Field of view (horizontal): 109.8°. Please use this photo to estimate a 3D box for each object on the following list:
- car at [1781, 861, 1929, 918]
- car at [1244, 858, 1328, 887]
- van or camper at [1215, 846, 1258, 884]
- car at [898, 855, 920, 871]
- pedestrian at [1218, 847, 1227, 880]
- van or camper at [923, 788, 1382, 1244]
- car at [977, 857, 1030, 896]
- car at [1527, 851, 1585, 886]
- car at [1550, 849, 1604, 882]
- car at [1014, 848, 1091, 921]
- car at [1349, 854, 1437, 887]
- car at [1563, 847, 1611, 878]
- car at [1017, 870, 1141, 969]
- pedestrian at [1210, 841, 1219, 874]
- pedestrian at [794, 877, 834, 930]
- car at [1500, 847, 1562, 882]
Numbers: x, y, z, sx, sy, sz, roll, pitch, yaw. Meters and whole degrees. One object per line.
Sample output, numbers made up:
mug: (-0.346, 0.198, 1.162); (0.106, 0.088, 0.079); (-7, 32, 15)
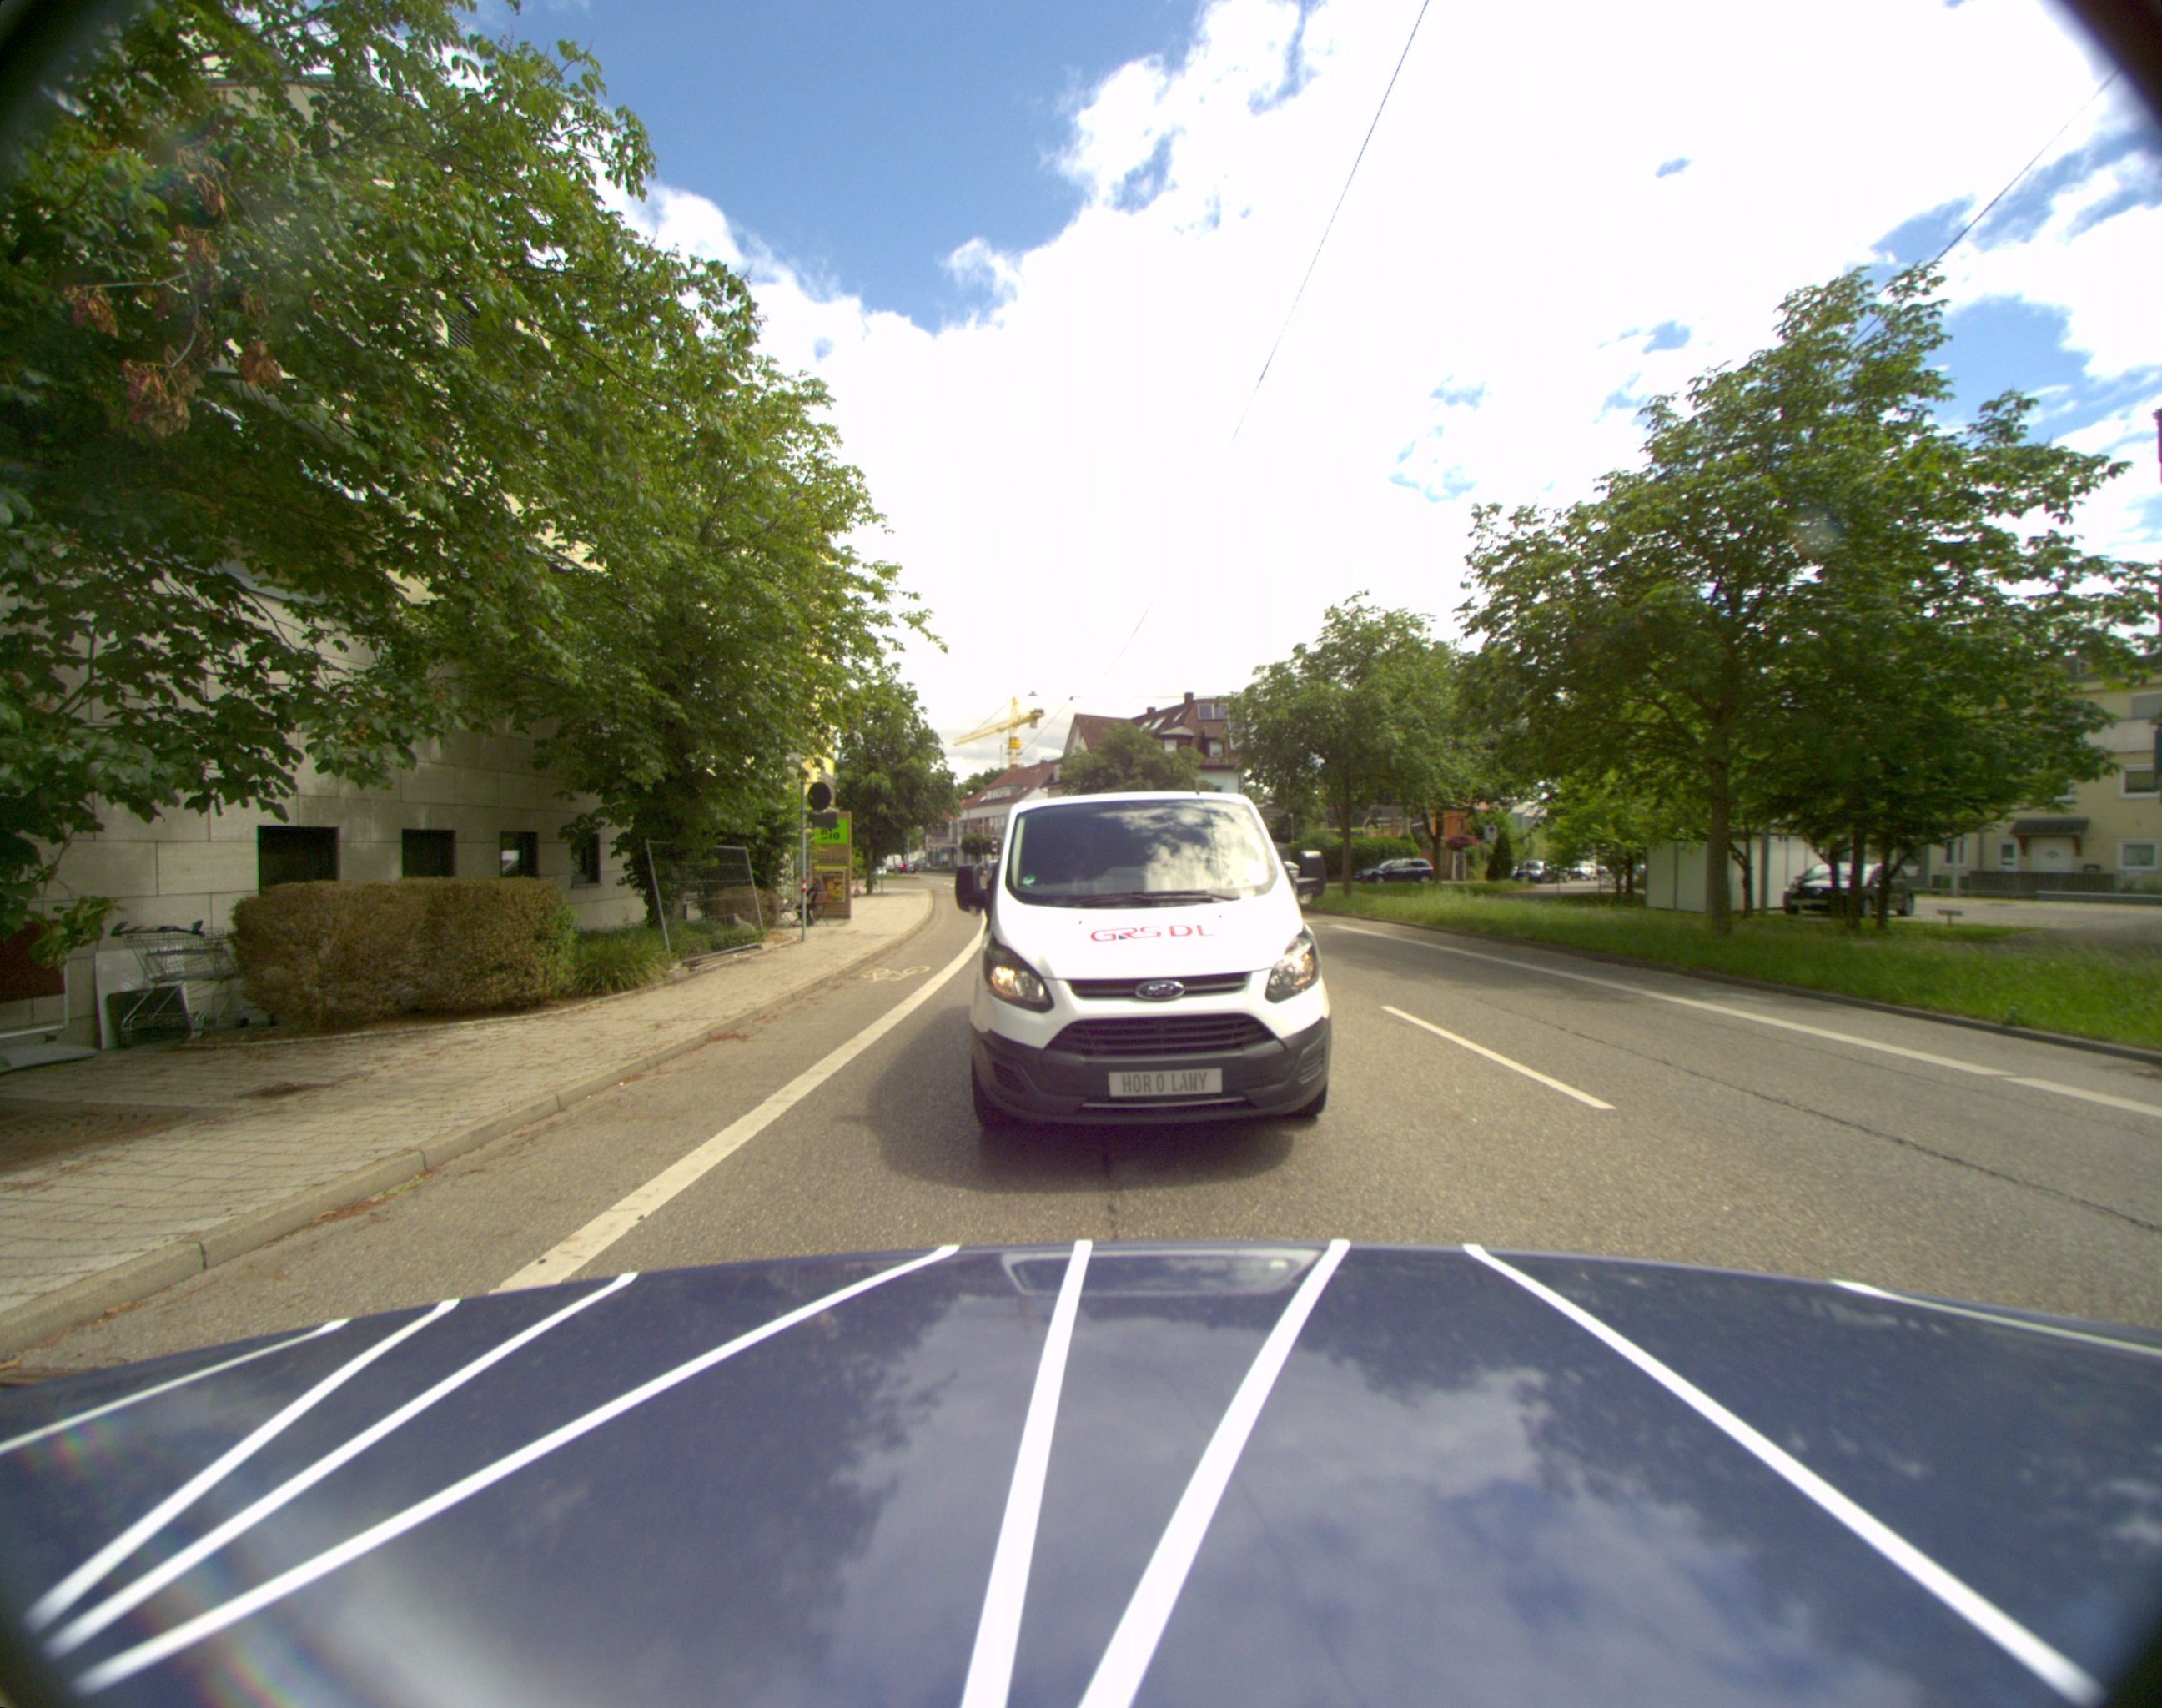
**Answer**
car: (20.942, 0.942, 20.533); (4.007, 1.411, 1.789); (2, -1, -29)
car: (10.901, 0.956, 40.450); (4.046, 1.314, 1.534); (-3, 1, -13)
van or camper: (9.090, 0.597, 44.628); (1.793, 2.077, 3.811); (-2, 1, 2)
car: (-20.277, 1.058, 89.487); (1.744, 1.840, 3.991); (0, 0, -26)
pedestrian: (8.701, 0.577, 46.817); (0.383, 1.979, 0.443); (-2, 1, 0)
van or camper: (0.269, 0.709, 5.908); (2.027, 2.002, 5.102); (0, 0, -1)
car: (-3.377, 0.963, 33.908); (1.693, 1.477, 4.000); (-2, 1, 3)
car: (30.448, 0.886, 48.627); (4.007, 2.002, 1.995); (-3, 1, -40)
car: (33.666, 0.754, 51.517); (4.007, 2.002, 1.994); (-3, 1, -41)
car: (-0.922, 0.785, 21.831); (1.853, 1.805, 3.997); (-3, 1, -6)
car: (16.622, 0.866, 40.603); (3.976, 1.672, 1.717); (0, 1, -3)
car: (36.540, 0.610, 54.877); (4.007, 2.002, 1.893); (-3, 1, -42)
car: (-0.187, 1.008, 13.283); (1.841, 1.382, 3.998); (0, 0, -5)
pedestrian: (8.238, 0.228, 46.765); (0.425, 2.002, 0.363); (-2, 1, 1)
pedestrian: (-6.776, 1.236, 19.305); (0.731, 1.293, 0.754); (0, 1, 0)
car: (27.138, 0.626, 45.788); (4.008, 2.002, 1.976); (0, 0, -40)
